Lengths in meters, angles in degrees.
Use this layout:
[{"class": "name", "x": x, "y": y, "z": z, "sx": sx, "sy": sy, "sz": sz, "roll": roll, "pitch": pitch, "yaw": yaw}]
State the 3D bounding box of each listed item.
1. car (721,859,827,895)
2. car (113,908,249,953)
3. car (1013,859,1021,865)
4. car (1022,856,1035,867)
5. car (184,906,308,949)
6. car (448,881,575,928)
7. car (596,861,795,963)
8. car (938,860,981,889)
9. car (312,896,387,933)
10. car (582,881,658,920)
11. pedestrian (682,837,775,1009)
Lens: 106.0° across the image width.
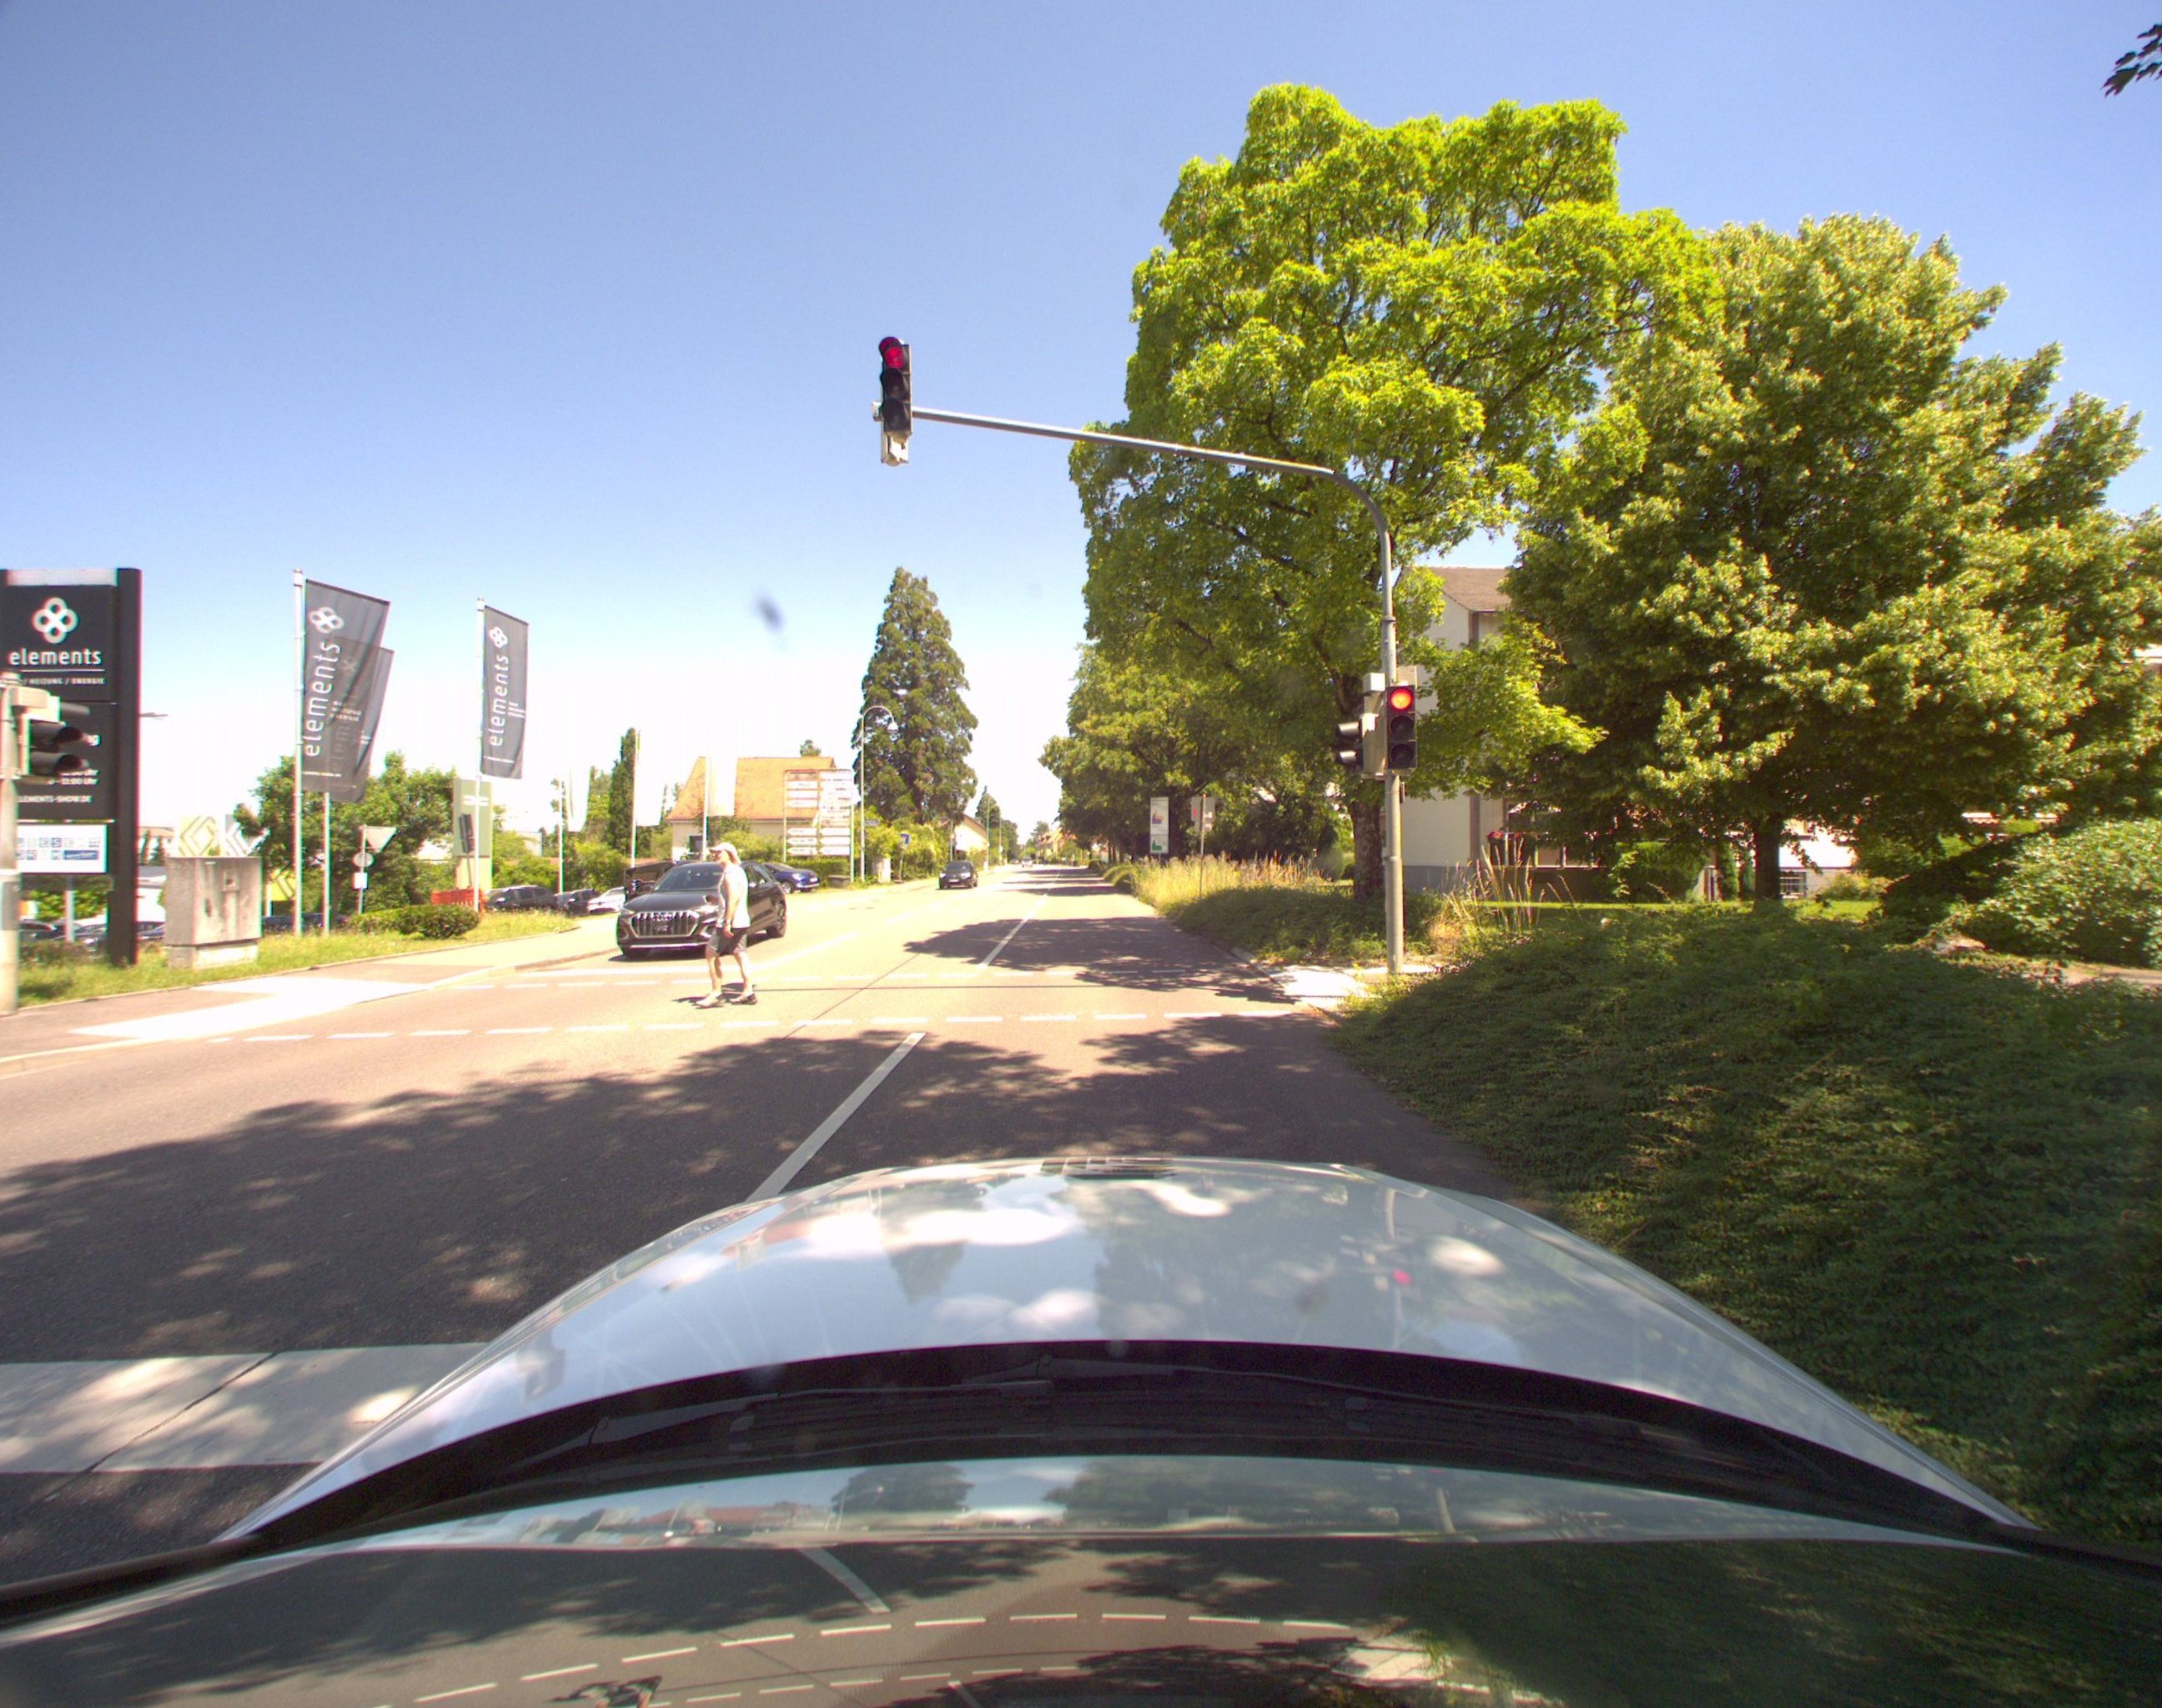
[{"class": "car", "x": -13.783, "y": 1.026, "z": 36.682, "sx": 4.109, "sy": 1.504, "sz": 1.782, "roll": -1, "pitch": 0, "yaw": 10}, {"class": "car", "x": -37.240, "y": 3.123, "z": 33.860, "sx": 1.754, "sy": 1.486, "sz": 3.983, "roll": -1, "pitch": 0, "yaw": -12}, {"class": "car", "x": -17.491, "y": 2.201, "z": 223.110, "sx": 1.817, "sy": 1.552, "sz": 3.997, "roll": -1, "pitch": 0, "yaw": -2}, {"class": "car", "x": -9.061, "y": 1.276, "z": 139.852, "sx": 1.804, "sy": 1.762, "sz": 4.571, "roll": 0, "pitch": 0, "yaw": 1}, {"class": "car", "x": -34.421, "y": 2.974, "z": 33.716, "sx": 1.648, "sy": 1.415, "sz": 3.853, "roll": -1, "pitch": 0, "yaw": -11}, {"class": "car", "x": -23.711, "y": 2.063, "z": 34.116, "sx": 1.795, "sy": 1.722, "sz": 4.106, "roll": -2, "pitch": -1, "yaw": 16}, {"class": "car", "x": -6.868, "y": 0.935, "z": 15.099, "sx": 1.923, "sy": 1.555, "sz": 4.295, "roll": -1, "pitch": 0, "yaw": -5}, {"class": "car", "x": -6.614, "y": 1.080, "z": 44.617, "sx": 1.864, "sy": 1.507, "sz": 4.049, "roll": -1, "pitch": 0, "yaw": -2}, {"class": "car", "x": -40.518, "y": 3.328, "z": 45.212, "sx": 1.816, "sy": 1.722, "sz": 4.059, "roll": 0, "pitch": 0, "yaw": -22}, {"class": "car", "x": -23.207, "y": 2.292, "z": 41.169, "sx": 1.806, "sy": 1.722, "sz": 4.081, "roll": 0, "pitch": 0, "yaw": -6}, {"class": "pedestrian", "x": -3.784, "y": 0.705, "z": 8.762, "sx": 0.538, "sy": 1.761, "sz": 0.706, "roll": -1, "pitch": -1, "yaw": 28}]
